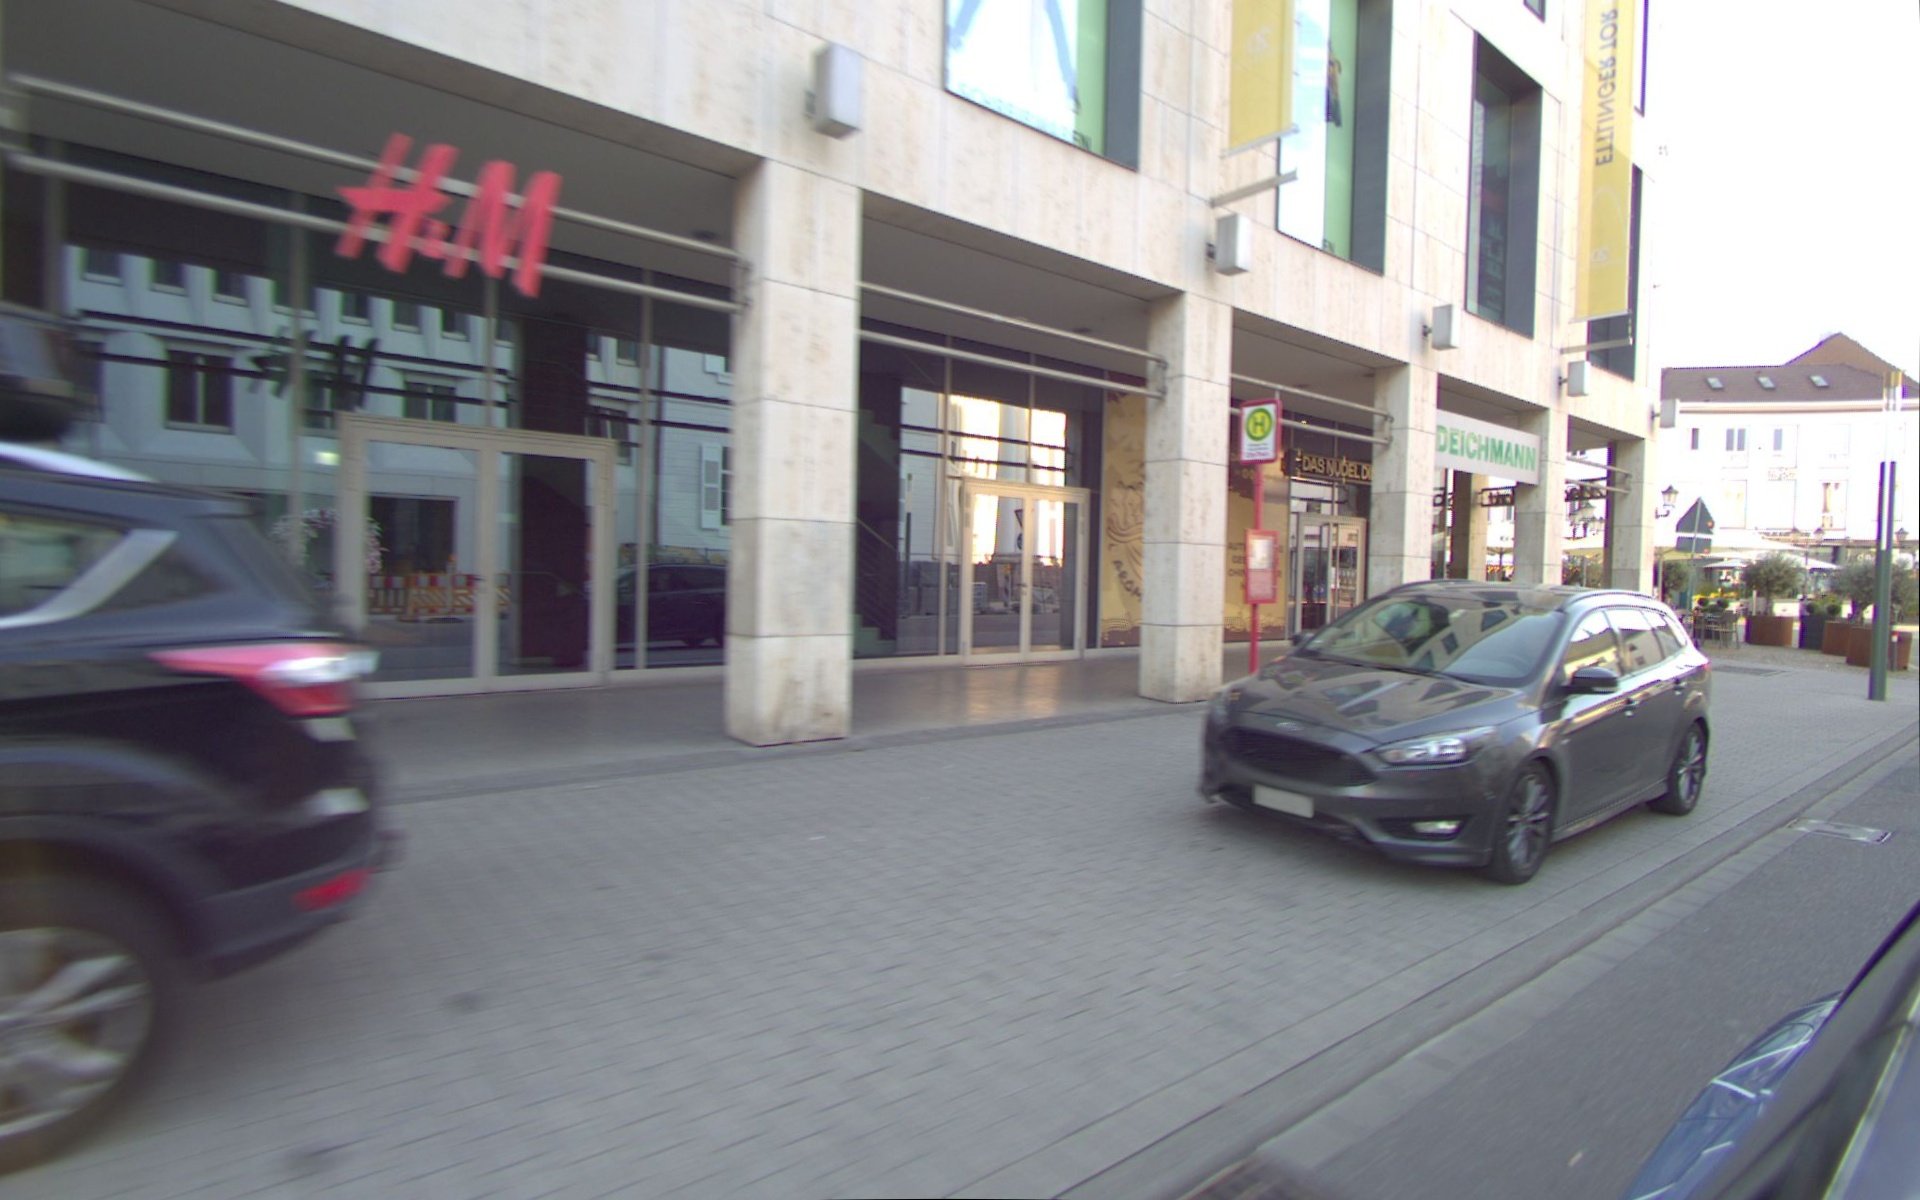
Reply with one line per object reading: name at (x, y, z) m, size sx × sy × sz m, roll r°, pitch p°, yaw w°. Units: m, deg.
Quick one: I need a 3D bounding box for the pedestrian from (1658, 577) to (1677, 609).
pedestrian at (37.977, -0.391, 54.323) m, size 0.720 × 1.697 × 0.620 m, roll 0°, pitch 1°, yaw -38°

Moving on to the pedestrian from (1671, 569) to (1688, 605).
pedestrian at (37.823, -0.685, 53.197) m, size 0.705 × 1.840 × 0.509 m, roll 0°, pitch 1°, yaw -38°

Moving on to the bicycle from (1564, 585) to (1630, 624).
bicycle at (20.084, 0.138, 31.896) m, size 1.866 × 1.142 × 0.609 m, roll 3°, pitch 1°, yaw -15°

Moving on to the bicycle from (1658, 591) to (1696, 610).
bicycle at (37.792, 0.042, 53.360) m, size 1.644 × 0.945 × 0.474 m, roll 1°, pitch 1°, yaw -2°

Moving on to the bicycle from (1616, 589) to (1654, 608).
bicycle at (35.148, -0.069, 52.730) m, size 1.644 × 0.945 × 0.474 m, roll 1°, pitch 1°, yaw -2°

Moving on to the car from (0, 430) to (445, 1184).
car at (-3.495, 0.391, 2.152) m, size 3.985 × 1.657 × 1.773 m, roll 0°, pitch 5°, yaw -40°

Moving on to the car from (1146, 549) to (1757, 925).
car at (3.233, 0.538, 6.298) m, size 4.118 × 1.508 × 1.800 m, roll 0°, pitch 5°, yaw -40°

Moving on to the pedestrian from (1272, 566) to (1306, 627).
pedestrian at (10.242, -0.111, 31.536) m, size 0.655 × 1.885 × 0.720 m, roll 1°, pitch 1°, yaw -17°

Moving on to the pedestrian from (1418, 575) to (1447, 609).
pedestrian at (21.258, -0.358, 45.522) m, size 0.835 × 1.465 × 0.776 m, roll 1°, pitch 1°, yaw -24°

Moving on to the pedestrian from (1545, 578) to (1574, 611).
pedestrian at (27.690, -0.248, 46.726) m, size 0.847 × 1.465 × 0.725 m, roll 1°, pitch 1°, yaw -16°

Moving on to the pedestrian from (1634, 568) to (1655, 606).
pedestrian at (35.688, -0.693, 52.772) m, size 0.614 × 1.952 × 0.647 m, roll 1°, pitch 1°, yaw -16°

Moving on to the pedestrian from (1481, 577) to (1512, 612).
pedestrian at (22.741, -0.241, 42.928) m, size 0.847 × 1.465 × 0.725 m, roll 1°, pitch 1°, yaw -16°

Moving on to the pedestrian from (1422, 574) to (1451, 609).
pedestrian at (20.868, -0.375, 44.305) m, size 0.835 × 1.465 × 0.776 m, roll 1°, pitch 1°, yaw -26°

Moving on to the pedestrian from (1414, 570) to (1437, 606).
pedestrian at (23.250, -0.597, 50.558) m, size 0.703 × 1.769 × 0.710 m, roll 1°, pitch 1°, yaw -33°

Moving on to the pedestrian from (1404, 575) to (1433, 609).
pedestrian at (20.409, -0.370, 45.051) m, size 0.835 × 1.465 × 0.776 m, roll 1°, pitch 1°, yaw -24°
